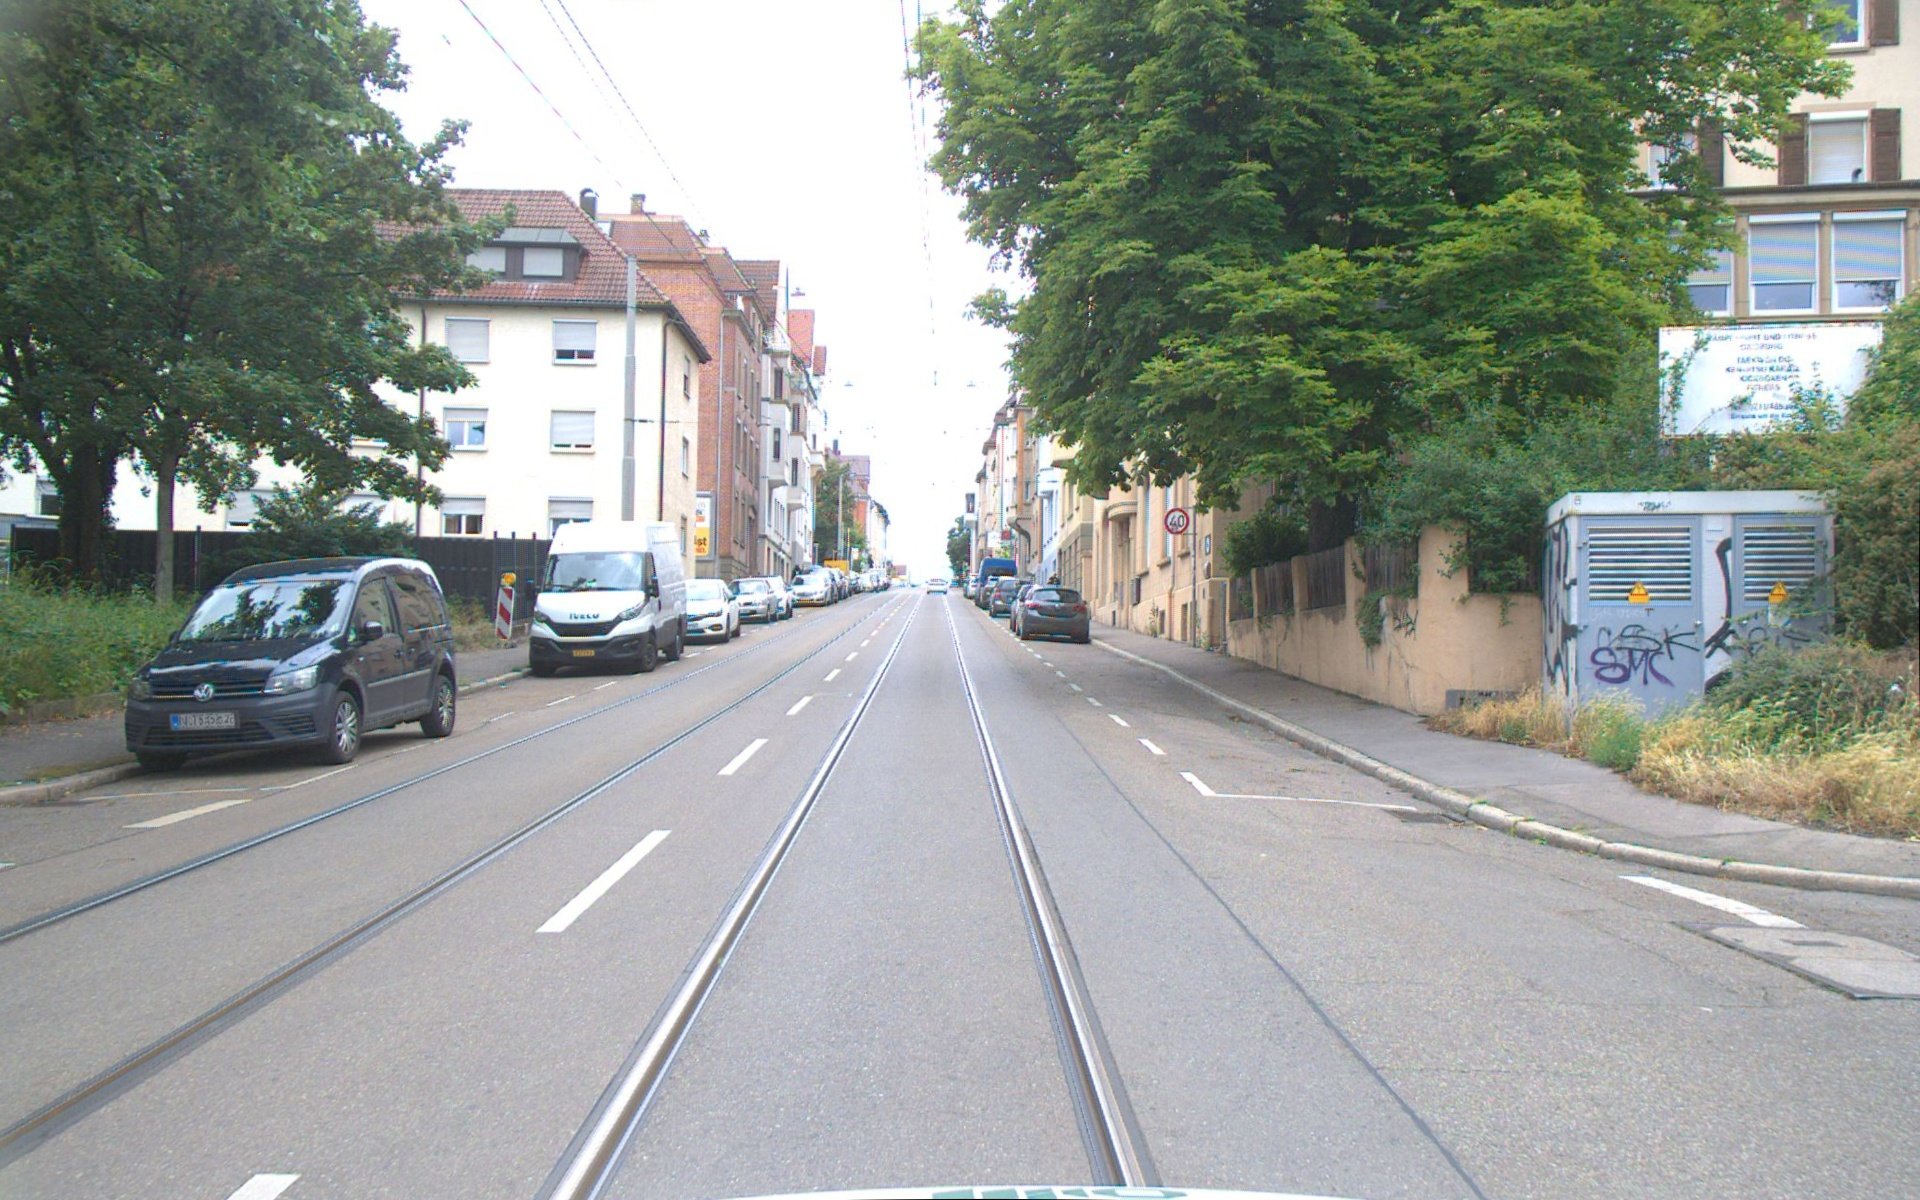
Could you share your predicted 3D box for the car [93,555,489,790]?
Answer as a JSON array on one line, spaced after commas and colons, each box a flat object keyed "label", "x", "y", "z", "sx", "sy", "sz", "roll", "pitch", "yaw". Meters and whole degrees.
[{"label": "car", "x": -6.040, "y": 0.560, "z": 15.620, "sx": 1.726, "sy": 1.806, "sz": 4.668, "roll": -3, "pitch": 0, "yaw": 0}]

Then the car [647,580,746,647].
[{"label": "car", "x": -6.228, "y": 0.267, "z": 39.518, "sx": 1.684, "sy": 1.427, "sz": 4.313, "roll": -2, "pitch": 1, "yaw": -1}]

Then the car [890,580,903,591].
[{"label": "car", "x": -9.349, "y": -2.124, "z": 244.704, "sx": 1.817, "sy": 1.635, "sz": 4.296, "roll": 1, "pitch": 0, "yaw": -1}]

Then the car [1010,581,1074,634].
[{"label": "car", "x": 2.459, "y": 0.192, "z": 50.356, "sx": 1.661, "sy": 1.428, "sz": 3.667, "roll": 3, "pitch": 1, "yaw": 0}]

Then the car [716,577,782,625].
[{"label": "car", "x": -6.711, "y": 0.004, "z": 52.948, "sx": 1.568, "sy": 1.392, "sz": 3.807, "roll": -3, "pitch": 1, "yaw": 0}]

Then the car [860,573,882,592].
[{"label": "car", "x": -8.162, "y": -1.605, "z": 151.887, "sx": 1.708, "sy": 1.766, "sz": 4.519, "roll": -1, "pitch": 0, "yaw": 1}]

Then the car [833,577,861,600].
[{"label": "car", "x": -7.693, "y": -0.794, "z": 112.650, "sx": 1.662, "sy": 1.494, "sz": 3.023, "roll": -1, "pitch": 0, "yaw": 0}]

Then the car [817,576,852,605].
[{"label": "car", "x": -7.321, "y": -0.562, "z": 96.750, "sx": 1.662, "sy": 1.621, "sz": 4.268, "roll": -1, "pitch": 1, "yaw": 0}]

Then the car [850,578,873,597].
[{"label": "car", "x": -8.391, "y": -1.095, "z": 140.576, "sx": 1.662, "sy": 1.583, "sz": 3.850, "roll": 1, "pitch": 0, "yaw": 1}]

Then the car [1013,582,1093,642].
[{"label": "car", "x": 2.435, "y": 0.304, "z": 44.209, "sx": 1.802, "sy": 1.427, "sz": 4.166, "roll": 3, "pitch": 0, "yaw": -1}]

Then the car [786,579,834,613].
[{"label": "car", "x": -6.957, "y": -0.219, "z": 76.970, "sx": 1.790, "sy": 1.454, "sz": 4.839, "roll": -1, "pitch": 1, "yaw": 0}]

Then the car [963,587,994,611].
[{"label": "car", "x": 1.160, "y": -0.099, "z": 104.690, "sx": 1.715, "sy": 1.414, "sz": 4.306, "roll": 3, "pitch": 0, "yaw": -2}]

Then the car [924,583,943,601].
[{"label": "car", "x": -2.378, "y": -0.690, "z": 146.702, "sx": 1.638, "sy": 1.539, "sz": 3.796, "roll": 1, "pitch": 0, "yaw": -2}]

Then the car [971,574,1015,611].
[{"label": "car", "x": 1.508, "y": -0.376, "z": 77.470, "sx": 1.744, "sy": 1.557, "sz": 4.191, "roll": 4, "pitch": 0, "yaw": -2}]

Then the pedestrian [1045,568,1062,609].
[{"label": "pedestrian", "x": 4.037, "y": -0.512, "z": 71.581, "sx": 0.530, "sy": 1.711, "sz": 0.515, "roll": -3, "pitch": -2, "yaw": -9}]

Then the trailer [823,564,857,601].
[{"label": "trailer", "x": -7.293, "y": -1.076, "z": 100.917, "sx": 1.713, "sy": 2.193, "sz": 4.071, "roll": -1, "pitch": 1, "yaw": 0}]

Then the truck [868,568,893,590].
[{"label": "truck", "x": -8.583, "y": -2.230, "z": 178.354, "sx": 2.233, "sy": 2.226, "sz": 8.025, "roll": 1, "pitch": 0, "yaw": 0}]

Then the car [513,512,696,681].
[{"label": "car", "x": -6.279, "y": -0.108, "z": 30.003, "sx": 2.115, "sy": 2.652, "sz": 6.216, "roll": -2, "pitch": 1, "yaw": -2}]

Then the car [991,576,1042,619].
[{"label": "car", "x": 2.205, "y": -0.110, "z": 65.458, "sx": 1.790, "sy": 1.545, "sz": 4.028, "roll": 3, "pitch": 1, "yaw": 0}]

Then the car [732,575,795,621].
[{"label": "car", "x": -6.833, "y": -0.097, "z": 57.867, "sx": 1.791, "sy": 1.454, "sz": 4.625, "roll": -3, "pitch": 1, "yaw": -3}]

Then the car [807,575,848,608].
[{"label": "car", "x": -7.179, "y": -0.480, "z": 90.206, "sx": 1.835, "sy": 1.693, "sz": 4.891, "roll": -1, "pitch": 1, "yaw": 0}]

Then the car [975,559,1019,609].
[{"label": "car", "x": 1.830, "y": -0.783, "z": 83.028, "sx": 1.953, "sy": 2.418, "sz": 5.055, "roll": 1, "pitch": 0, "yaw": -1}]
